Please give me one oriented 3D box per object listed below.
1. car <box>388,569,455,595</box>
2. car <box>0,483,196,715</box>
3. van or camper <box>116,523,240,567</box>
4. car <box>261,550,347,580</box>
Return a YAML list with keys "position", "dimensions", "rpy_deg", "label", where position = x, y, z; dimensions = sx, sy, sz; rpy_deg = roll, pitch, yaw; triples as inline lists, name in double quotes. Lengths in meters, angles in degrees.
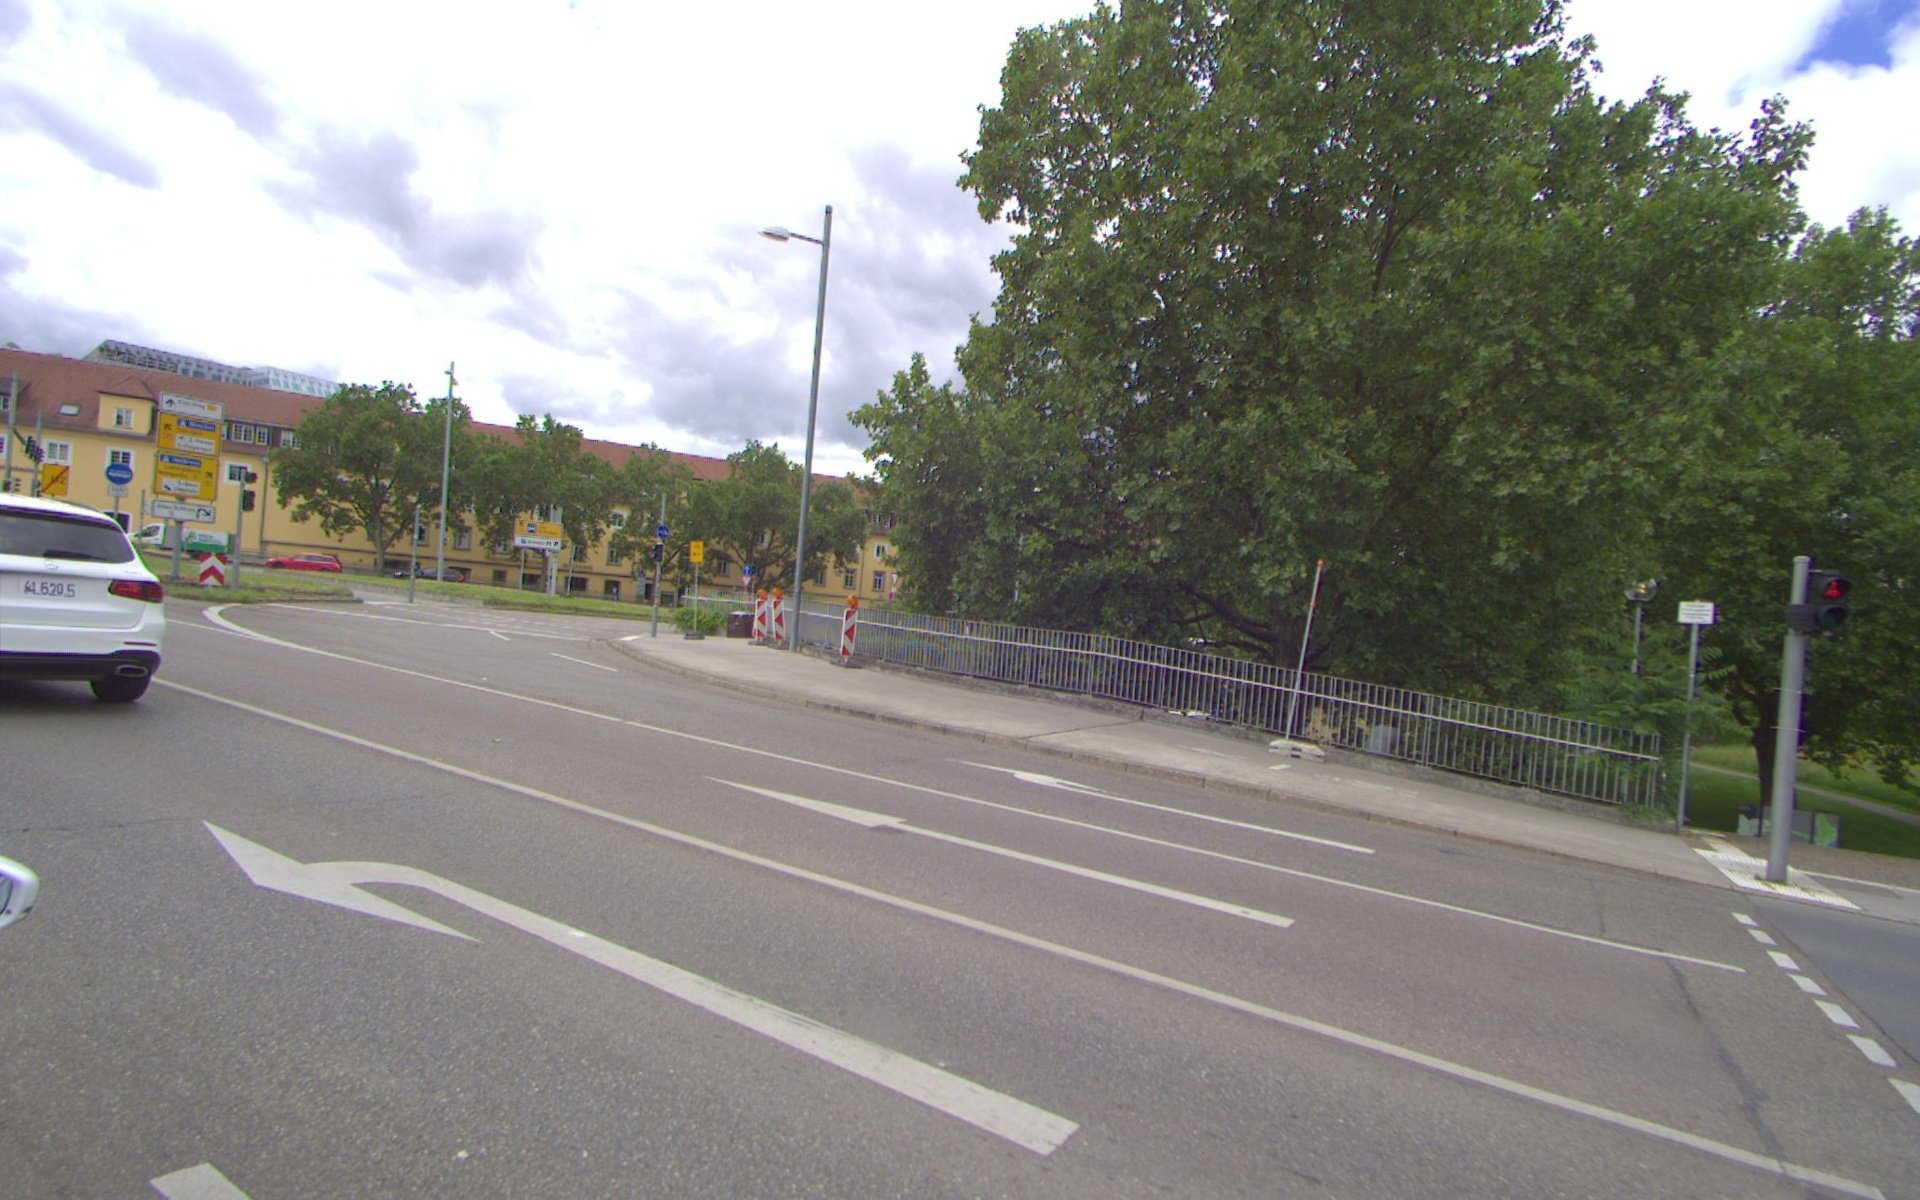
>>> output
- position: [-38.607, -1.292, 72.207]
  dimensions: [4.041, 1.430, 1.649]
  rpy_deg: [7, -1, -27]
  label: "car"
- position: [-8.645, -0.171, 8.562]
  dimensions: [4.305, 1.667, 1.822]
  rpy_deg: [6, -1, 31]
  label: "car"
- position: [-51.119, -3.543, 65.928]
  dimensions: [5.945, 2.038, 2.009]
  rpy_deg: [7, -1, -23]
  label: "van or camper"
- position: [-44.861, -2.356, 68.892]
  dimensions: [4.637, 1.437, 1.586]
  rpy_deg: [7, -1, -27]
  label: "car"
